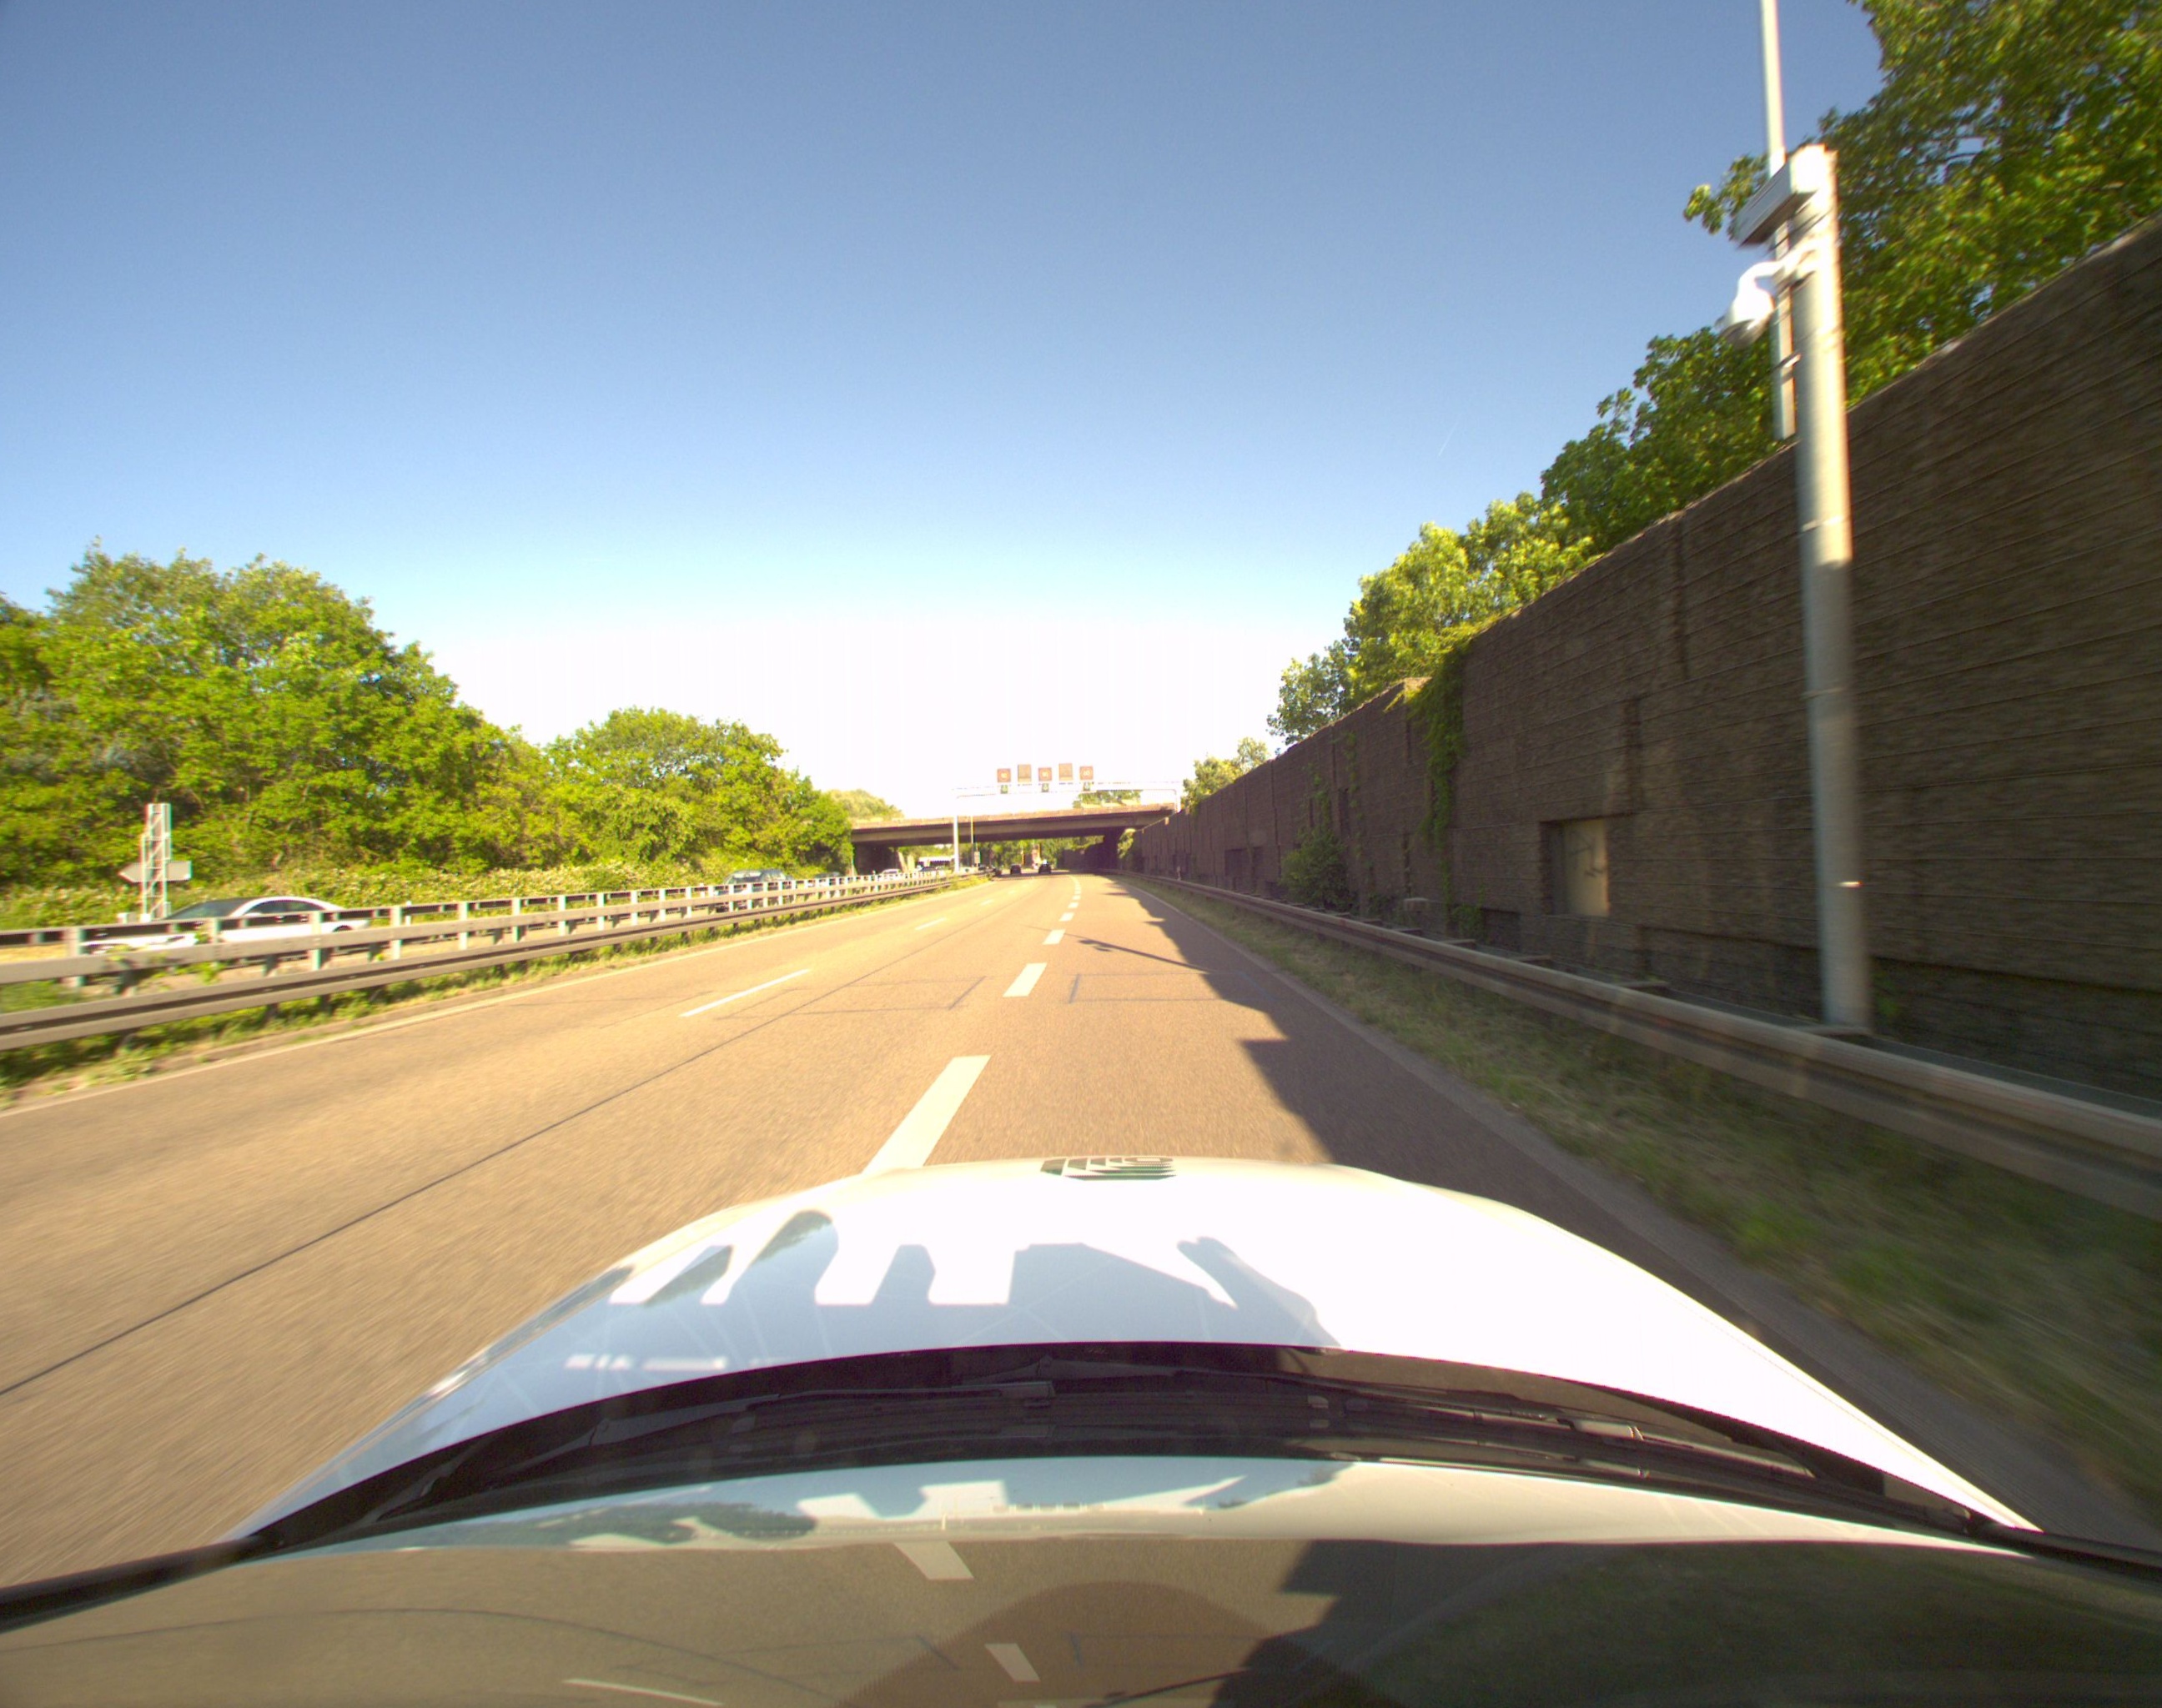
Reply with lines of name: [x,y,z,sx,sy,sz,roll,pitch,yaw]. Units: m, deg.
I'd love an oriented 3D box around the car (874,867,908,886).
car: [-18.097,2.128,77.719,1.987,1.641,4.721,-2,0,1]

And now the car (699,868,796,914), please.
car: [-13.689,1.472,33.813,1.987,1.641,4.721,-2,0,1]

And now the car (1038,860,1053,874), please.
car: [-5.175,1.849,119.025,1.988,1.926,3.998,-2,-1,-1]

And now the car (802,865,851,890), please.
car: [-18.787,1.707,60.328,1.987,1.641,5.027,-2,0,1]

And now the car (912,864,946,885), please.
car: [-13.861,1.854,74.562,1.987,1.640,4.721,-5,-1,1]

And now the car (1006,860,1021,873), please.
car: [-10.221,1.924,123.725,1.989,1.926,3.995,-2,-1,-3]

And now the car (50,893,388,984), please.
car: [-17.857,1.669,17.345,1.987,1.415,4.831,-2,0,1]

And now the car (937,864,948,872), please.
car: [-32.560,3.329,191.474,1.990,1.706,4.553,-3,0,-5]
